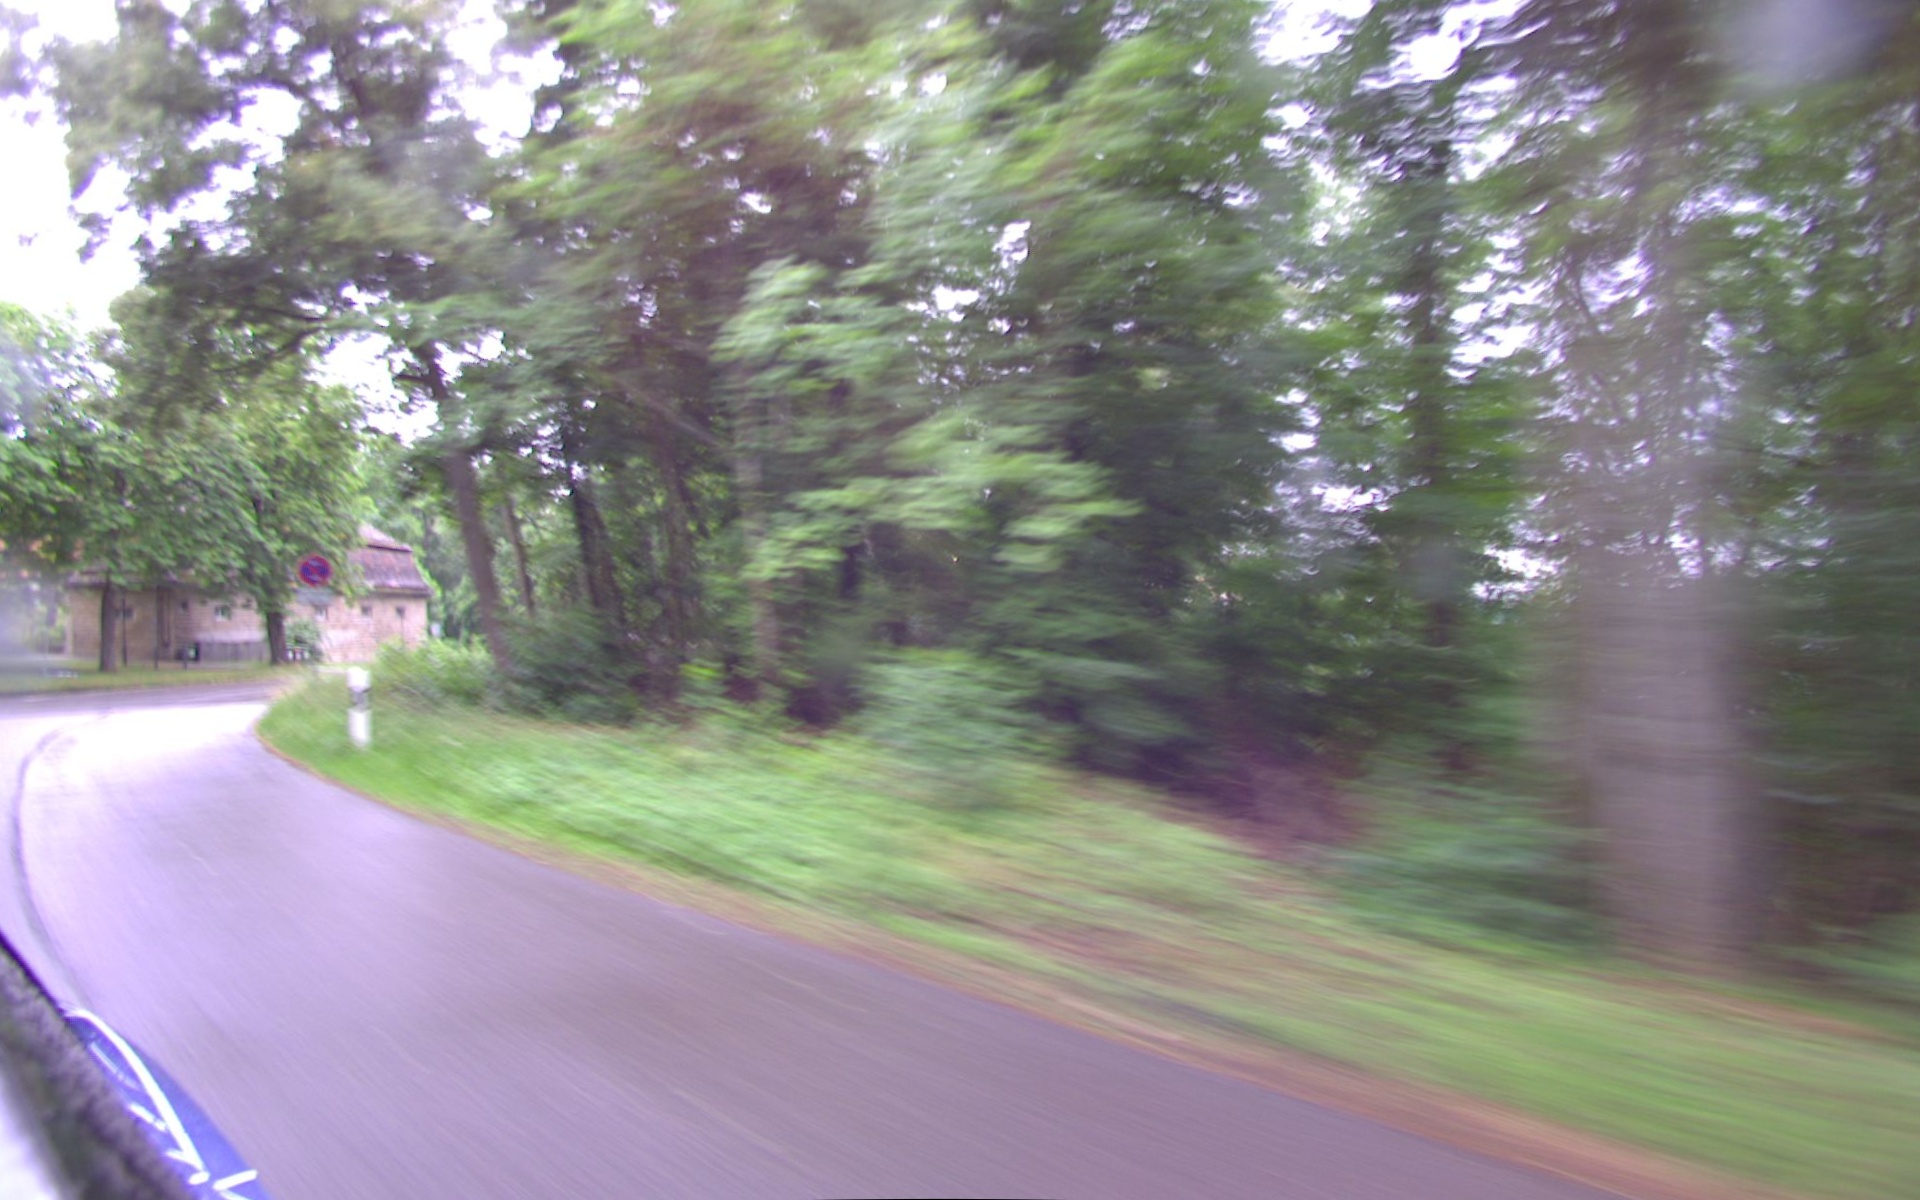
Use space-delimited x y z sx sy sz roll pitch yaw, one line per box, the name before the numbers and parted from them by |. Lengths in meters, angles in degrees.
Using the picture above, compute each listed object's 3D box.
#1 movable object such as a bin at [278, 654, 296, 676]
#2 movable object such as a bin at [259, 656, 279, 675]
movable object such as a bin | -34.987 3.383 52.620 0.622 1.083 0.763 -1 -3 -18
movable object such as a bin | -35.262 3.350 51.641 0.622 0.961 0.763 -1 -3 -18
